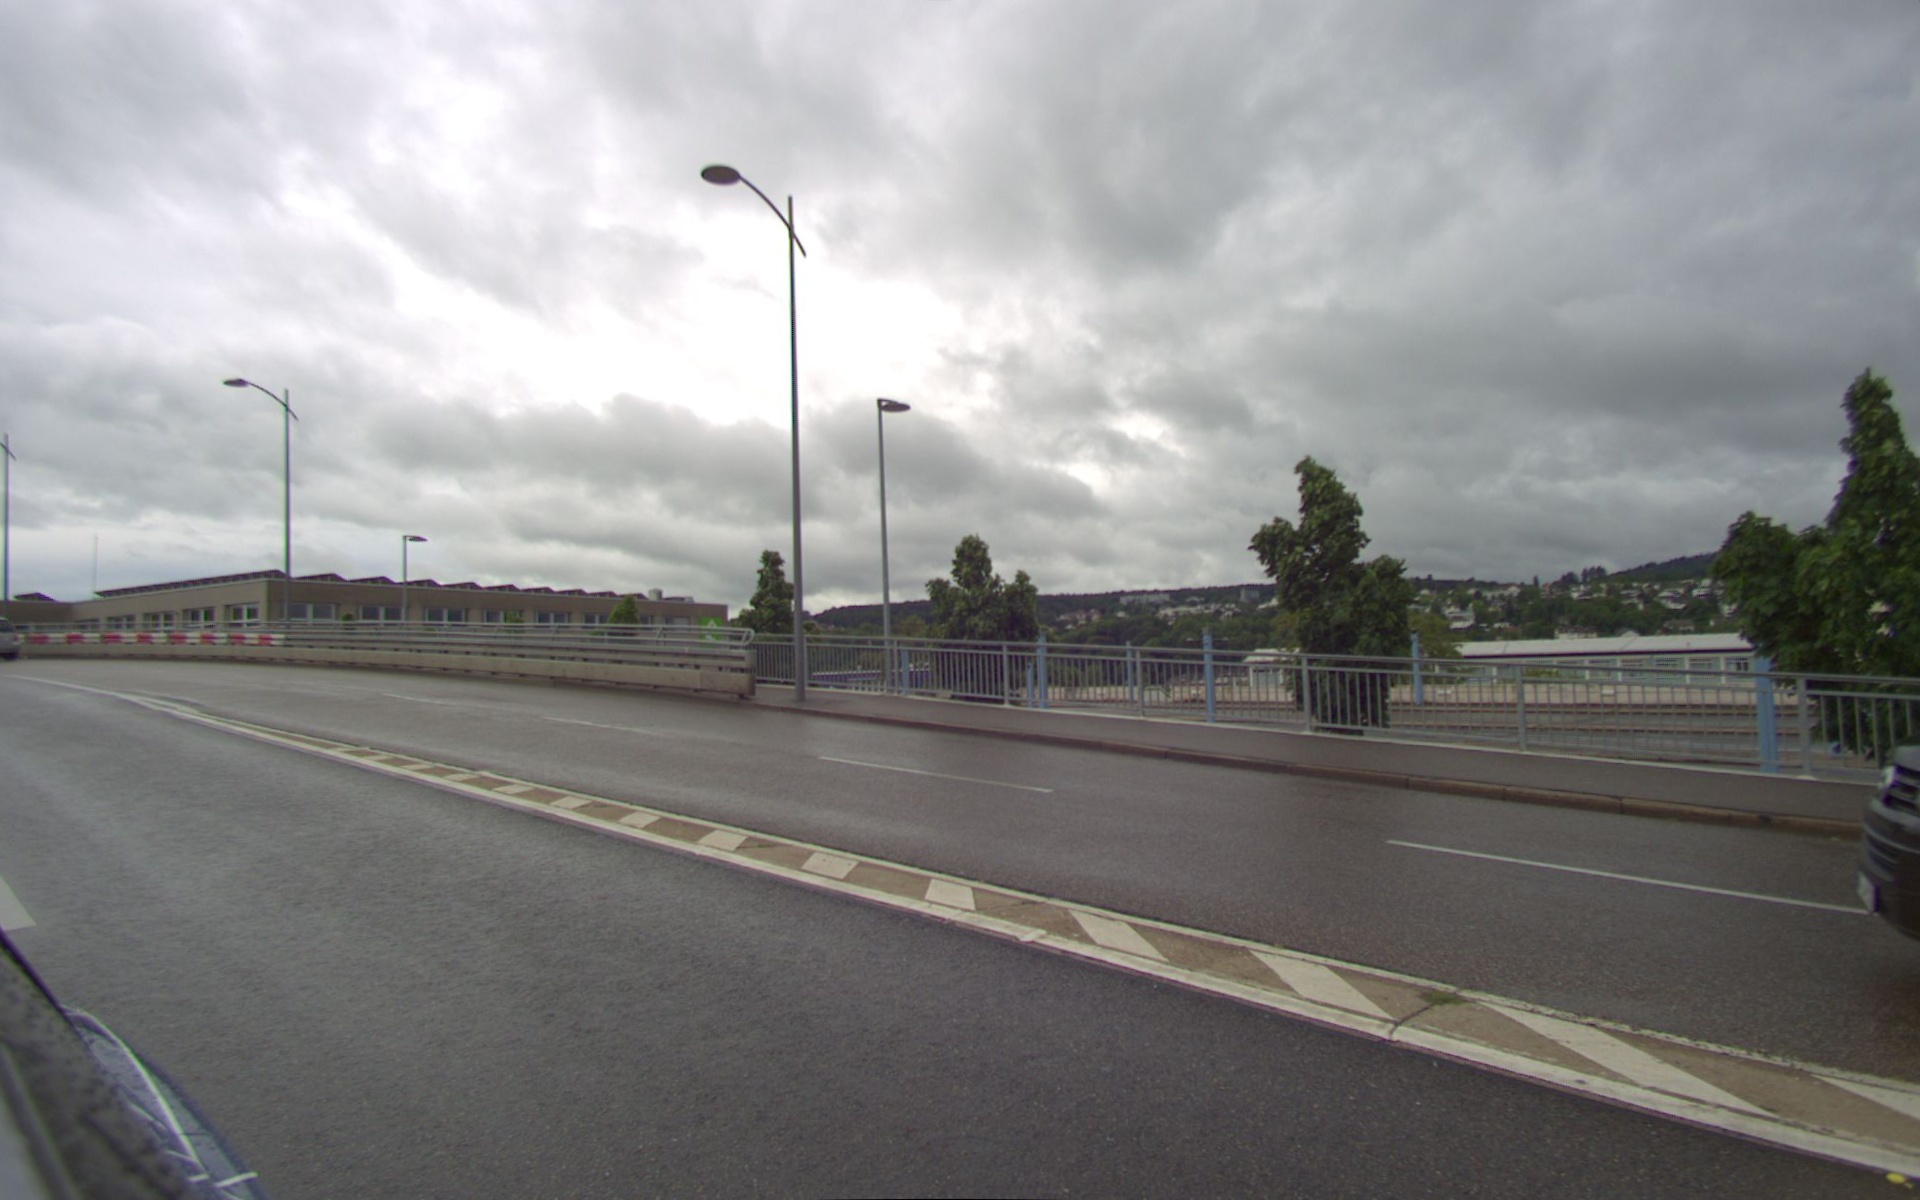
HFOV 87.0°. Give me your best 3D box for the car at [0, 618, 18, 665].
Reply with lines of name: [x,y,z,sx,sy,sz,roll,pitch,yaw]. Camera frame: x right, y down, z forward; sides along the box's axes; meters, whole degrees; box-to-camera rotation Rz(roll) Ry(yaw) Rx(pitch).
car: [-35.069,1.422,35.262,3.678,1.621,1.641,0,-2,17]

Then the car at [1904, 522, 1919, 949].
car: [5.987,0.605,2.833,4.677,1.983,1.828,0,-2,37]
